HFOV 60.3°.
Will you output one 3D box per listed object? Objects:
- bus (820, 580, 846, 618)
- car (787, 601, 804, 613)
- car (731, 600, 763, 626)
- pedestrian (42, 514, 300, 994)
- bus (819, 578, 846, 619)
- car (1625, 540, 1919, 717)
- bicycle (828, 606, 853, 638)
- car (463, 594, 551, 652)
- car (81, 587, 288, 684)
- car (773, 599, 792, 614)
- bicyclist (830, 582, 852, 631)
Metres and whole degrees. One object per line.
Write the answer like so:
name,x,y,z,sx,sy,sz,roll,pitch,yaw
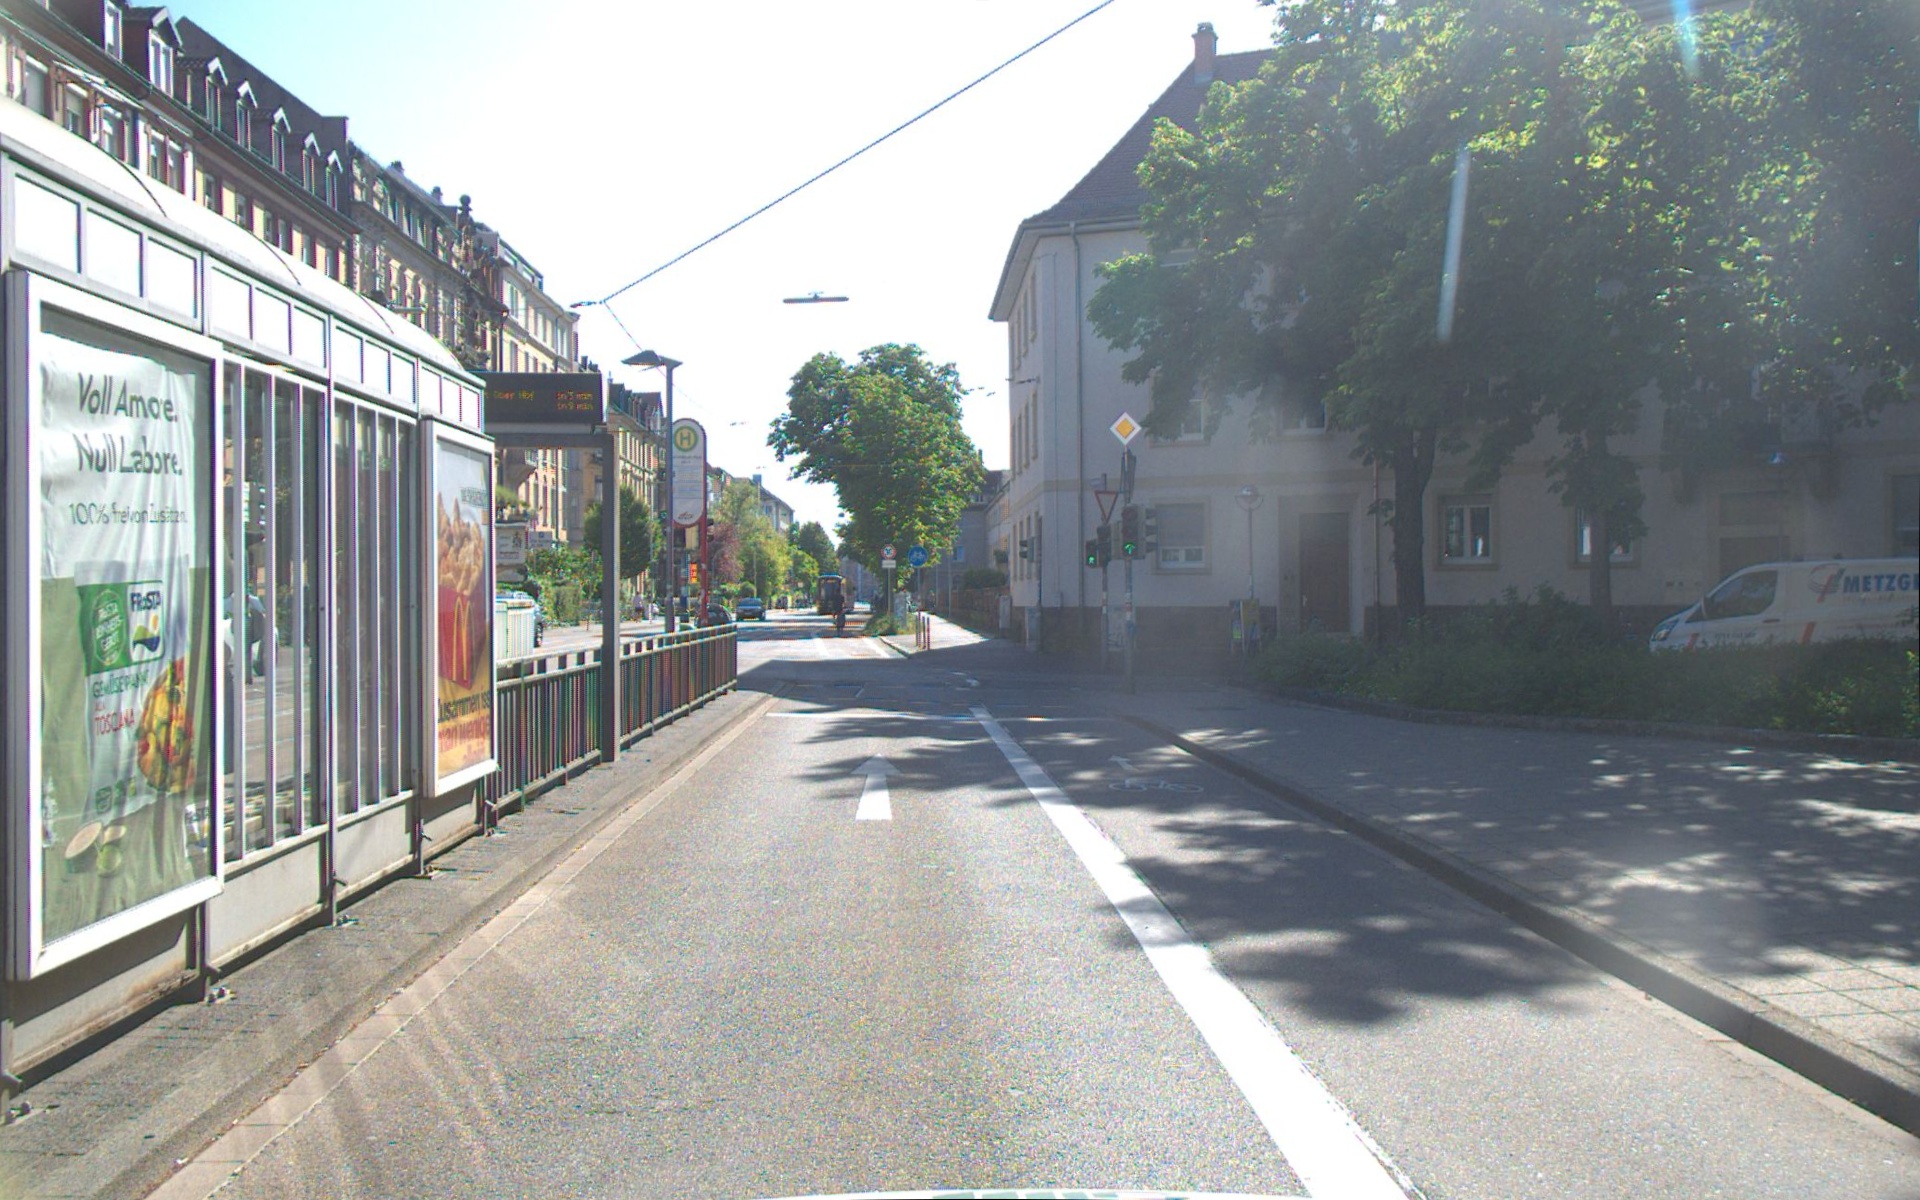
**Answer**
bus,-12.022,-0.064,156.573,2.338,3.558,7.377,1,-1,-4
car,-21.440,0.941,216.261,1.953,1.624,3.998,1,-1,-2
car,-14.178,0.869,110.259,1.955,1.624,3.995,1,-1,-6
pedestrian,-3.522,0.662,7.449,0.779,2.049,0.740,1,-1,-2
bus,-11.488,-0.101,149.205,2.338,3.558,7.377,1,-1,-4
car,12.007,0.370,22.842,2.105,2.247,4.874,1,-1,-39
bicycle,-4.570,0.830,63.266,0.825,1.176,2.538,1,-1,-2
car,-13.459,0.677,49.355,1.741,1.646,3.997,1,-1,-4
car,-14.175,0.625,30.486,1.739,1.646,4.001,1,-1,3
car,-20.580,0.754,191.690,1.953,1.624,3.998,1,-1,-2
bicyclist,-4.540,0.241,63.190,0.801,1.843,1.058,1,-1,-2
